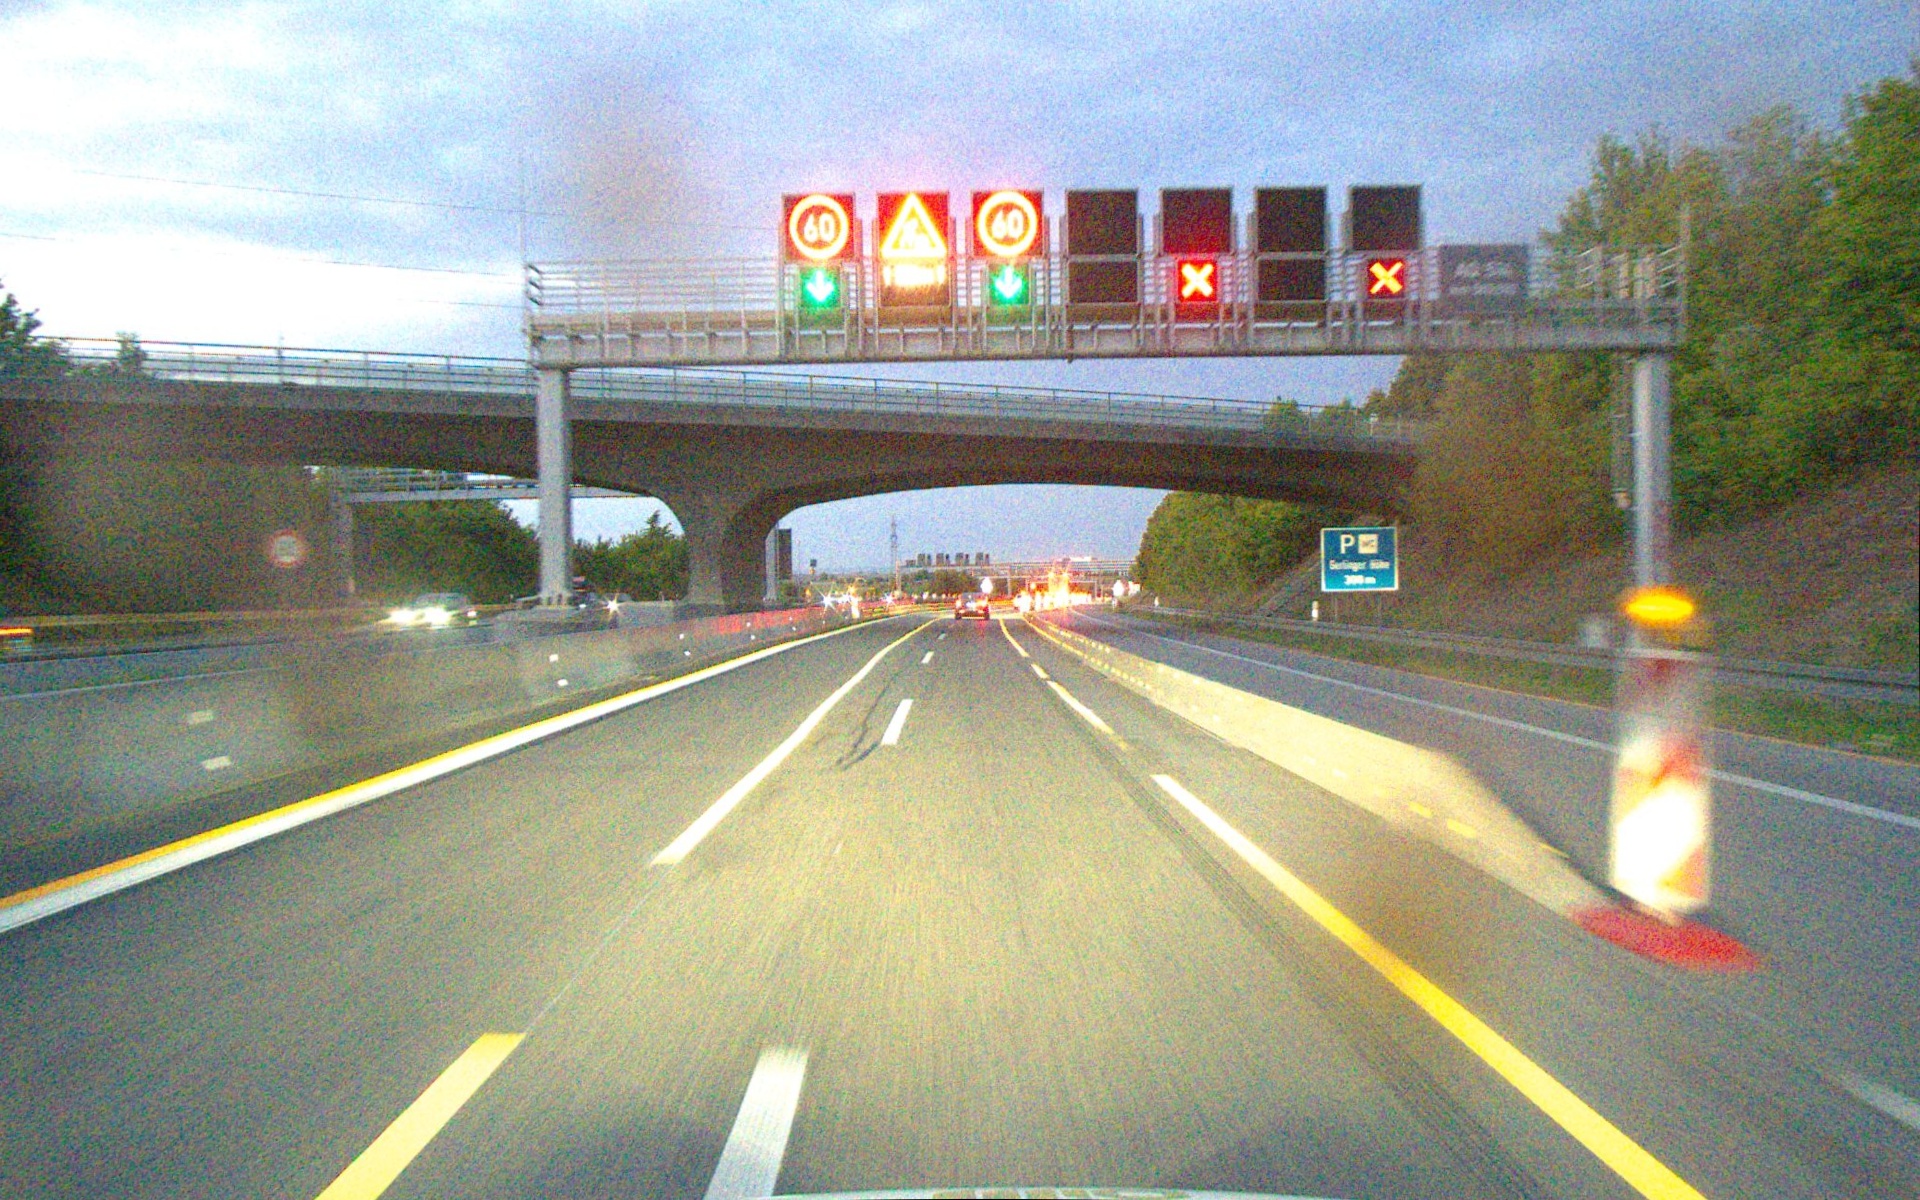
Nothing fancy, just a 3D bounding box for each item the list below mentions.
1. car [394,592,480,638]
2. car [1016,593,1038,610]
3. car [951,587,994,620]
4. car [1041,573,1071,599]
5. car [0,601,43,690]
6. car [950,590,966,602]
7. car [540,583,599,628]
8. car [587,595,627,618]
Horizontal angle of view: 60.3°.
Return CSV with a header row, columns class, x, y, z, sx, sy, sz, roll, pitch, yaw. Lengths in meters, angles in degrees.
class,x,y,z,sx,sy,sz,roll,pitch,yaw
car,-20.741,0.579,65.798,1.953,1.703,4.582,1,0,0
car,6.044,0.142,148.904,1.931,1.462,4.001,1,0,3
car,0.674,0.189,88.892,2.219,1.649,4.000,1,0,1
car,13.226,-1.904,228.307,3.532,3.455,8.012,1,0,-1
car,-19.595,0.873,31.201,1.952,1.705,4.516,1,0,2
car,-0.319,-0.626,254.782,1.951,1.744,4.002,1,0,5
car,-20.522,0.283,87.124,1.953,2.228,4.802,1,0,0
car,-22.754,0.391,106.693,1.954,1.444,3.998,-1,0,-3
